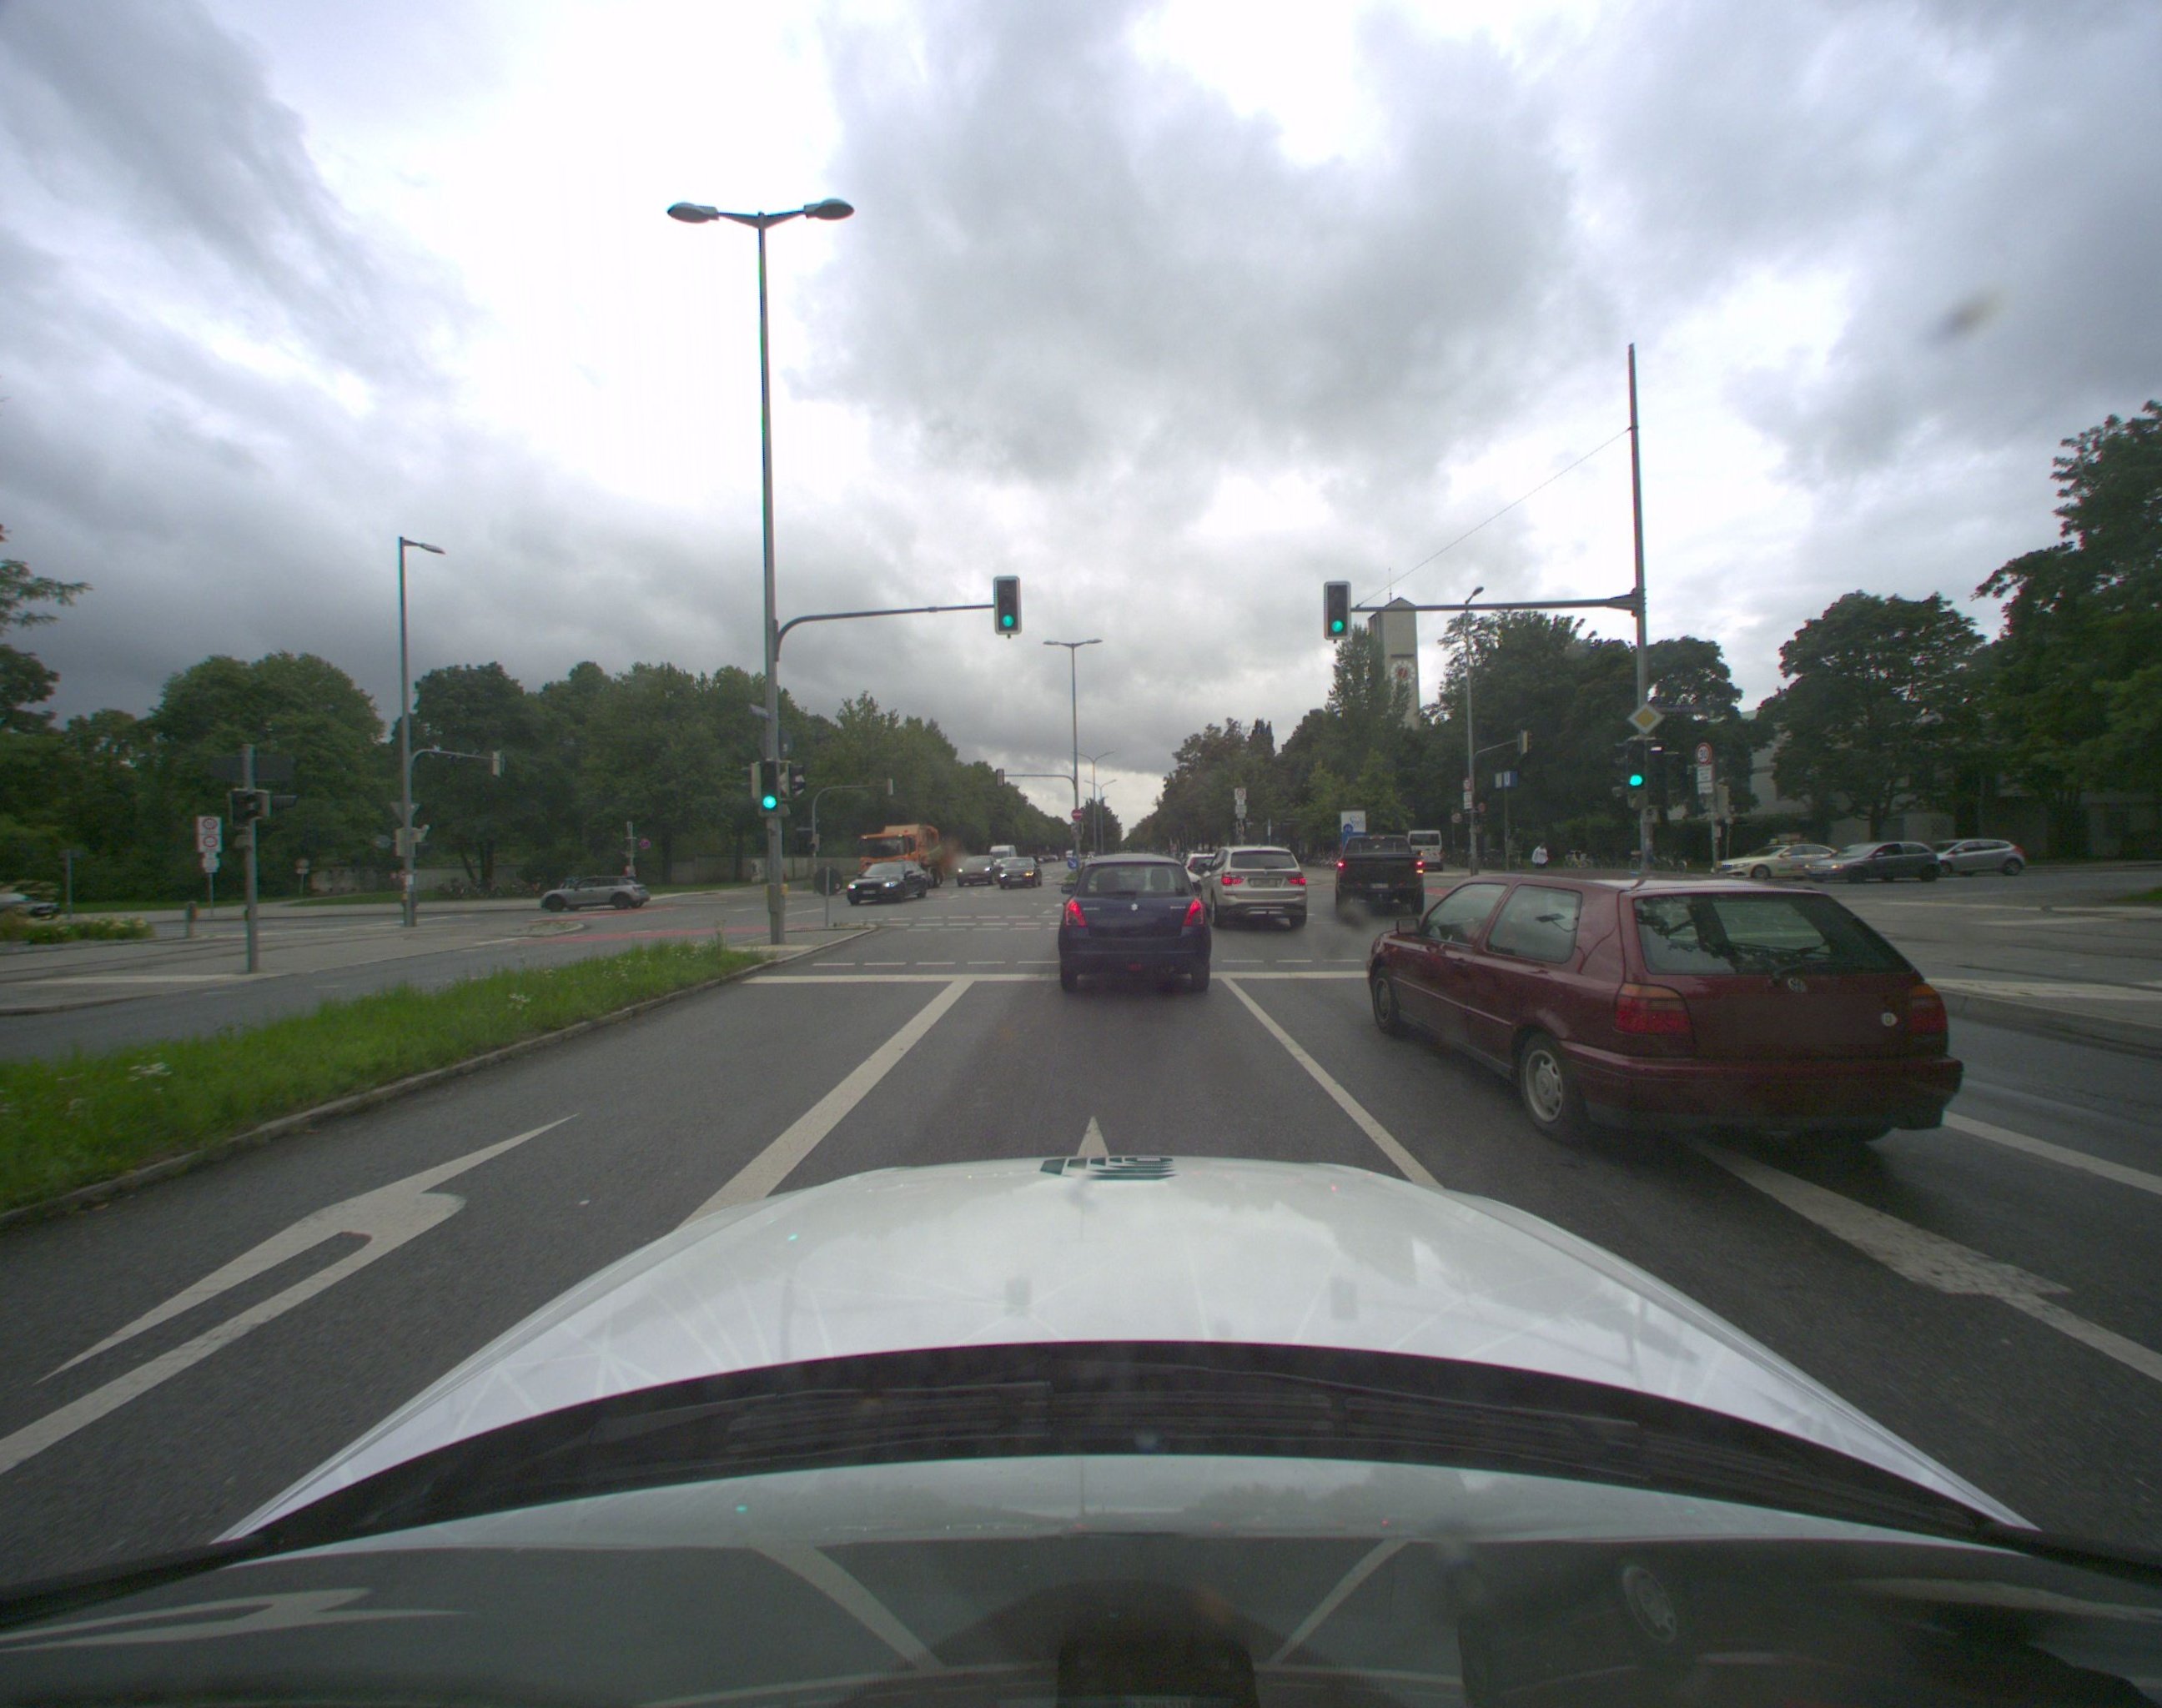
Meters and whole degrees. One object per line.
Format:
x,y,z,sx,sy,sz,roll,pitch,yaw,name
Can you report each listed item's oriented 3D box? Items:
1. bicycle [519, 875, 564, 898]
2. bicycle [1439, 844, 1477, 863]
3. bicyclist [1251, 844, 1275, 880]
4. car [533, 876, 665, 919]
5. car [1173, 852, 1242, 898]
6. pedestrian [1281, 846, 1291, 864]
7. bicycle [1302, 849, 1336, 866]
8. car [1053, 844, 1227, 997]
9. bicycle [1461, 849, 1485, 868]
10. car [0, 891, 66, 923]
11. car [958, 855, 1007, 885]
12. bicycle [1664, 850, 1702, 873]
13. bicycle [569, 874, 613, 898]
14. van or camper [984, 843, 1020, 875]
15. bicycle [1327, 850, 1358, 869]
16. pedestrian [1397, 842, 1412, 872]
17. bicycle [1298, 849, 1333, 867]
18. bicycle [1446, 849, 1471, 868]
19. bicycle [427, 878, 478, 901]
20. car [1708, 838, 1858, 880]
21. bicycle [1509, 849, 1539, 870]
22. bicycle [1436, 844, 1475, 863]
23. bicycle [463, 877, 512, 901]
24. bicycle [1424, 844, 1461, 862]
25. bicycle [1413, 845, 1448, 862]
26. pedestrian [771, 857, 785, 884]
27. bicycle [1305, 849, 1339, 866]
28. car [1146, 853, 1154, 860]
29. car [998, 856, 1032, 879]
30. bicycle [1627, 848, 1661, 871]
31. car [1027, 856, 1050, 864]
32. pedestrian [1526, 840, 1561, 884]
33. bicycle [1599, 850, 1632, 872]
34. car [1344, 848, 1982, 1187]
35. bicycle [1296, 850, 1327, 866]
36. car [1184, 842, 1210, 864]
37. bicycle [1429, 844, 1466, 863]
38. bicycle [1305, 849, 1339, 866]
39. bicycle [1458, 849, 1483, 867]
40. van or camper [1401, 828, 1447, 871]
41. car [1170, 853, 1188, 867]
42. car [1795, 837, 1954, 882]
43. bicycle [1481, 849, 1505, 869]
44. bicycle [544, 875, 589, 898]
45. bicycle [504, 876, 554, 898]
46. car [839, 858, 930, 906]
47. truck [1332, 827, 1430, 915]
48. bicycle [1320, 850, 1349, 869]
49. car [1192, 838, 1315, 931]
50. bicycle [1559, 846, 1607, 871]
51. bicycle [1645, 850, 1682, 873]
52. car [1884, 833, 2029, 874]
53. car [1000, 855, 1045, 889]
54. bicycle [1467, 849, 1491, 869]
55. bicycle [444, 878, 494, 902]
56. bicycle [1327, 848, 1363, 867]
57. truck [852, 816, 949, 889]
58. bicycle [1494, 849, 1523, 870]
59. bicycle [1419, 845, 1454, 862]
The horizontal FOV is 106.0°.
-30.733,1.860,46.410,0.832,1.186,2.497,-1,0,2,bicycle
25.924,-0.037,56.018,2.329,1.157,0.529,-4,0,2,bicycle
9.170,0.403,41.010,0.831,1.764,0.739,-1,-1,-33,bicyclist
-20.463,1.833,34.748,4.352,1.462,1.925,-3,0,-11,car
4.331,0.691,28.451,1.843,1.447,4.098,-1,0,1,car
18.133,0.087,71.898,0.579,1.513,0.690,-1,0,-16,pedestrian
18.203,0.239,62.325,2.329,1.157,0.529,-4,0,2,bicycle
0.660,0.698,10.504,1.782,1.555,4.001,-1,0,1,car
24.527,0.285,50.964,0.709,1.153,2.142,-2,0,43,bicycle
-52.440,2.596,39.488,4.184,1.416,1.846,-1,0,2,car
-5.400,0.855,45.043,1.854,1.542,4.753,-2,0,3,car
29.179,0.340,39.497,0.604,1.095,2.121,-1,0,11,bicycle
-27.268,1.758,45.395,0.832,1.186,2.497,-1,0,2,bicycle
-7.124,0.412,74.458,2.169,2.646,6.955,-3,0,2,van or camper
17.077,0.369,53.205,1.806,1.142,0.565,-3,0,-9,bicycle
17.050,0.149,42.938,0.684,1.538,0.741,-2,0,22,pedestrian
17.060,0.307,59.384,2.329,1.157,0.585,-4,0,2,bicycle
24.330,0.284,52.444,2.141,1.153,0.710,-1,0,-43,bicycle
-35.370,1.979,45.891,0.832,1.186,2.497,-1,0,2,bicycle
27.402,0.182,31.893,4.287,1.497,1.886,-1,0,-1,car
24.994,0.289,45.983,0.693,1.153,2.132,-1,0,5,bicycle
26.025,-0.038,56.608,2.329,1.157,0.529,-4,0,2,bicycle
-33.288,1.955,45.701,0.832,1.186,2.497,-1,0,2,bicycle
26.261,-0.042,59.195,2.329,1.157,0.529,-4,0,2,bicycle
26.639,-0.048,62.073,2.329,1.157,0.529,-4,0,2,bicycle
-19.853,1.051,53.379,0.705,1.740,0.517,-1,0,-3,pedestrian
18.296,0.279,61.770,2.329,1.157,0.529,-4,0,2,bicycle
15.850,0.492,187.919,1.677,1.525,4.460,0,0,4,car
-4.657,0.914,57.928,1.720,1.487,4.747,-2,0,4,car
27.864,0.268,40.321,0.604,1.095,2.121,-1,0,12,bicycle
-8.257,1.212,157.793,4.014,1.354,1.832,-2,0,-32,car
18.558,0.319,32.691,0.758,1.703,0.937,-1,0,-7,pedestrian
27.224,0.346,41.501,0.604,1.095,2.121,-1,0,11,bicycle
3.175,0.719,5.536,1.616,1.454,3.952,-1,0,2,car
18.577,0.318,65.724,2.329,1.157,0.529,-4,0,2,bicycle
9.842,-0.093,69.462,1.740,1.724,4.910,-1,0,3,car
26.299,-0.041,58.469,2.329,1.157,0.529,-4,0,2,bicycle
18.127,0.272,61.225,2.329,1.157,0.529,-4,0,2,bicycle
26.118,0.272,54.552,2.140,1.153,0.710,-1,0,-41,bicycle
19.971,-0.276,47.611,2.123,2.296,6.231,-1,0,20,van or camper
11.021,0.715,91.925,1.710,1.508,4.226,-1,0,3,car
27.695,0.195,28.519,3.921,1.454,1.628,-1,0,2,car
24.638,0.289,48.712,0.709,1.153,2.142,-2,0,43,bicycle
-28.548,1.780,45.250,0.832,1.186,2.497,-1,0,2,bicycle
-32.294,1.918,47.708,0.832,1.186,2.885,-1,0,2,bicycle
-7.076,0.954,29.875,1.919,1.462,4.900,-3,0,2,car
7.945,0.389,21.802,2.082,2.013,5.840,-2,0,19,truck
17.019,0.367,54.665,1.794,1.142,0.569,-3,0,11,bicycle
3.556,0.581,17.525,1.843,1.743,4.098,-1,0,1,car
26.122,0.260,42.395,0.704,1.250,2.098,-1,0,-23,bicycle
28.610,0.340,40.045,0.604,1.095,2.121,-1,0,11,bicycle
34.191,-0.020,31.866,3.924,1.454,1.627,-1,0,0,car
-2.724,0.798,38.549,1.633,1.487,3.783,-2,0,2,car
24.076,0.289,49.277,0.709,1.153,2.142,-2,0,43,bicycle
-34.362,1.997,45.760,0.832,1.186,2.497,-1,0,2,bicycle
18.866,0.258,58.282,2.329,1.157,0.585,-4,0,2,bicycle
-9.090,-0.043,41.935,2.767,3.356,7.276,-1,0,5,truck
24.179,0.294,46.094,0.713,1.153,2.132,-1,0,5,bicycle
26.288,-0.044,60.252,2.329,1.157,0.529,-4,0,2,bicycle
